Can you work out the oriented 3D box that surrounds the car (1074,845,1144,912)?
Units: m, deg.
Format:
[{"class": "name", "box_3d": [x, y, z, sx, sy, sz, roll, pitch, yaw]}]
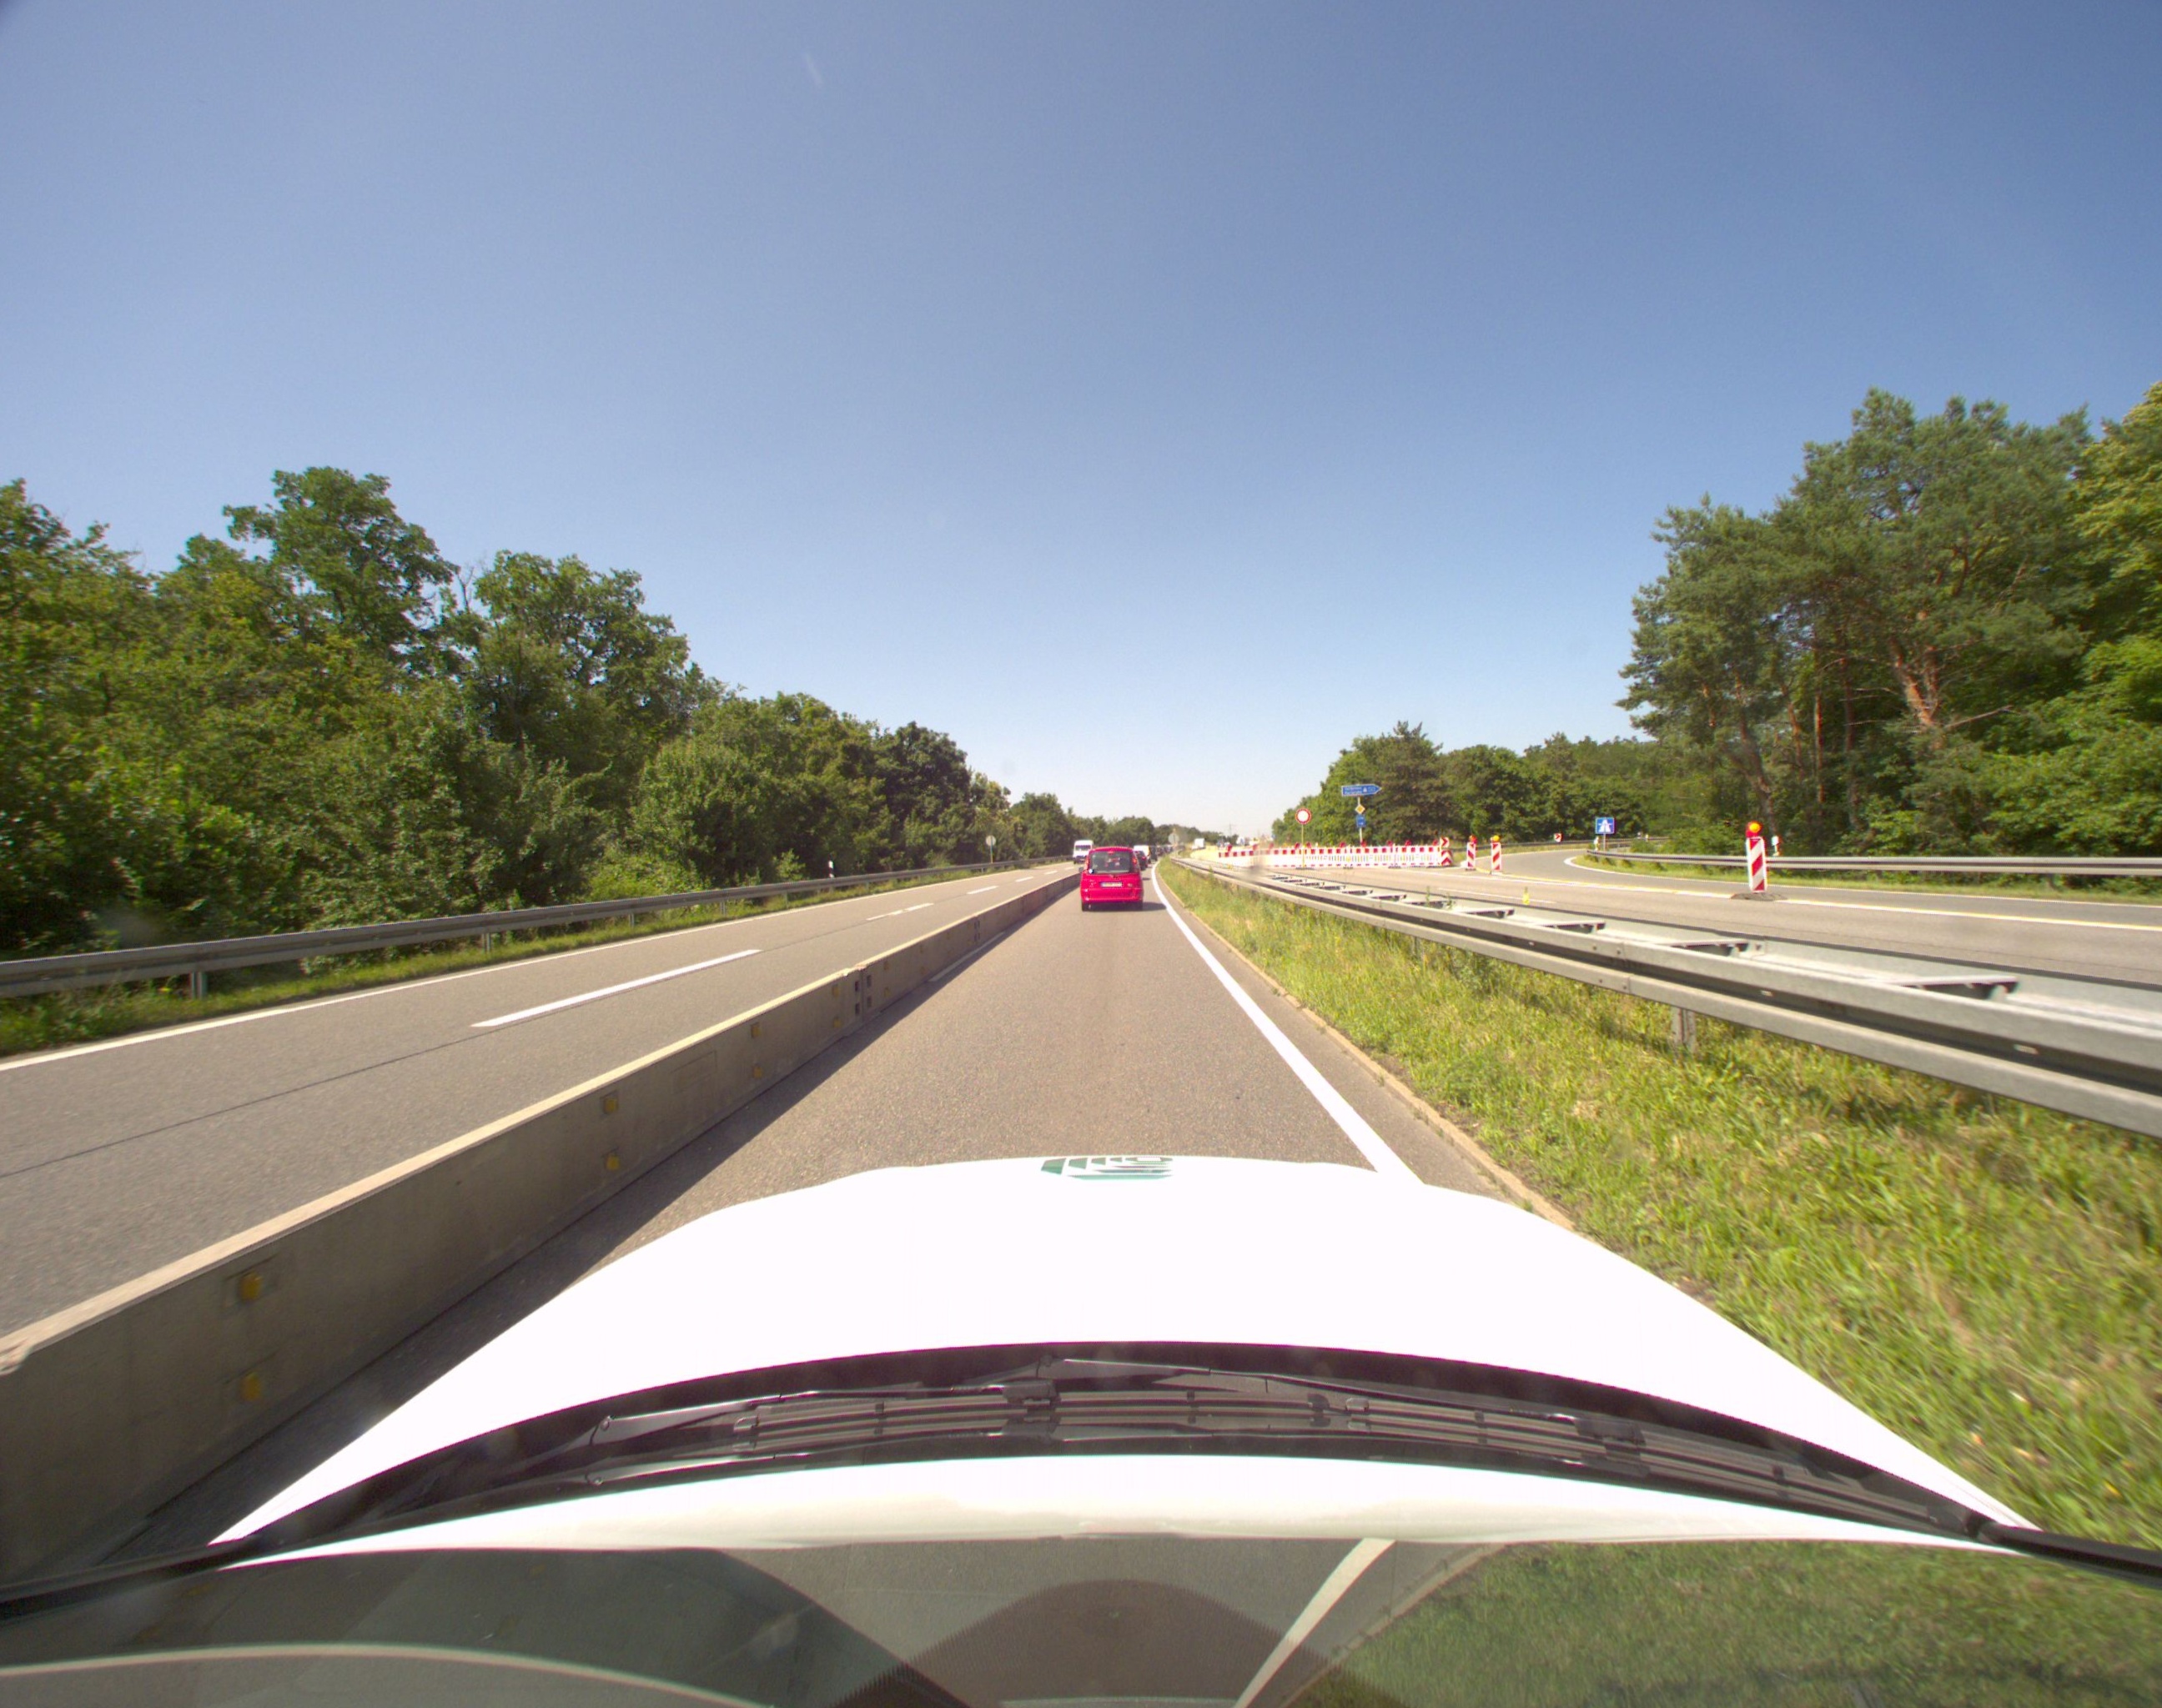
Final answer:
[{"class": "car", "box_3d": [0.850, 0.608, 22.544, 1.744, 1.673, 4.005, -1, 0, 4]}]

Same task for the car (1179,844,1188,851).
[{"class": "car", "box_3d": [24.038, -1.475, 190.484, 1.982, 1.552, 4.010, -2, 0, 9]}]

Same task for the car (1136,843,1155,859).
[{"class": "car", "box_3d": [7.575, -0.344, 95.860, 1.986, 1.750, 4.001, -2, 0, 1]}]

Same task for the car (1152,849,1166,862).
[{"class": "car", "box_3d": [11.545, 0.197, 120.463, 1.984, 1.783, 4.005, -2, 0, 4]}]

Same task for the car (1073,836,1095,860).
[{"class": "car", "box_3d": [0.391, -0.656, 87.682, 2.053, 2.485, 5.564, -1, 0, 3]}]

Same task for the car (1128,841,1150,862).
[{"class": "car", "box_3d": [5.882, -0.206, 82.392, 1.986, 2.003, 4.001, -2, 0, 1]}]

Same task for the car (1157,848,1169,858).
[{"class": "car", "box_3d": [13.955, -0.226, 138.171, 1.983, 1.585, 4.007, -2, 0, 6]}]

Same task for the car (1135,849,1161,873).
[{"class": "car", "box_3d": [5.561, 0.580, 67.315, 1.983, 1.838, 4.007, -2, 0, 6]}]

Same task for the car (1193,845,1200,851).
[{"class": "car", "box_3d": [31.668, -1.703, 223.370, 1.982, 1.486, 4.009, -2, 0, 8]}]

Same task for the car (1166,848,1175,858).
[{"class": "car", "box_3d": [16.663, -0.162, 151.045, 1.493, 1.736, 3.178, -2, 0, 9]}]

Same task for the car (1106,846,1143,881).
[{"class": "car", "box_3d": [2.278, 0.471, 42.708, 1.823, 1.722, 4.003, -2, 0, 3]}]

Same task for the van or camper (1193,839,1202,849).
[{"class": "van or camper", "box_3d": [33.678, -2.908, 235.159, 2.316, 2.706, 4.602, -2, 0, 7]}]
